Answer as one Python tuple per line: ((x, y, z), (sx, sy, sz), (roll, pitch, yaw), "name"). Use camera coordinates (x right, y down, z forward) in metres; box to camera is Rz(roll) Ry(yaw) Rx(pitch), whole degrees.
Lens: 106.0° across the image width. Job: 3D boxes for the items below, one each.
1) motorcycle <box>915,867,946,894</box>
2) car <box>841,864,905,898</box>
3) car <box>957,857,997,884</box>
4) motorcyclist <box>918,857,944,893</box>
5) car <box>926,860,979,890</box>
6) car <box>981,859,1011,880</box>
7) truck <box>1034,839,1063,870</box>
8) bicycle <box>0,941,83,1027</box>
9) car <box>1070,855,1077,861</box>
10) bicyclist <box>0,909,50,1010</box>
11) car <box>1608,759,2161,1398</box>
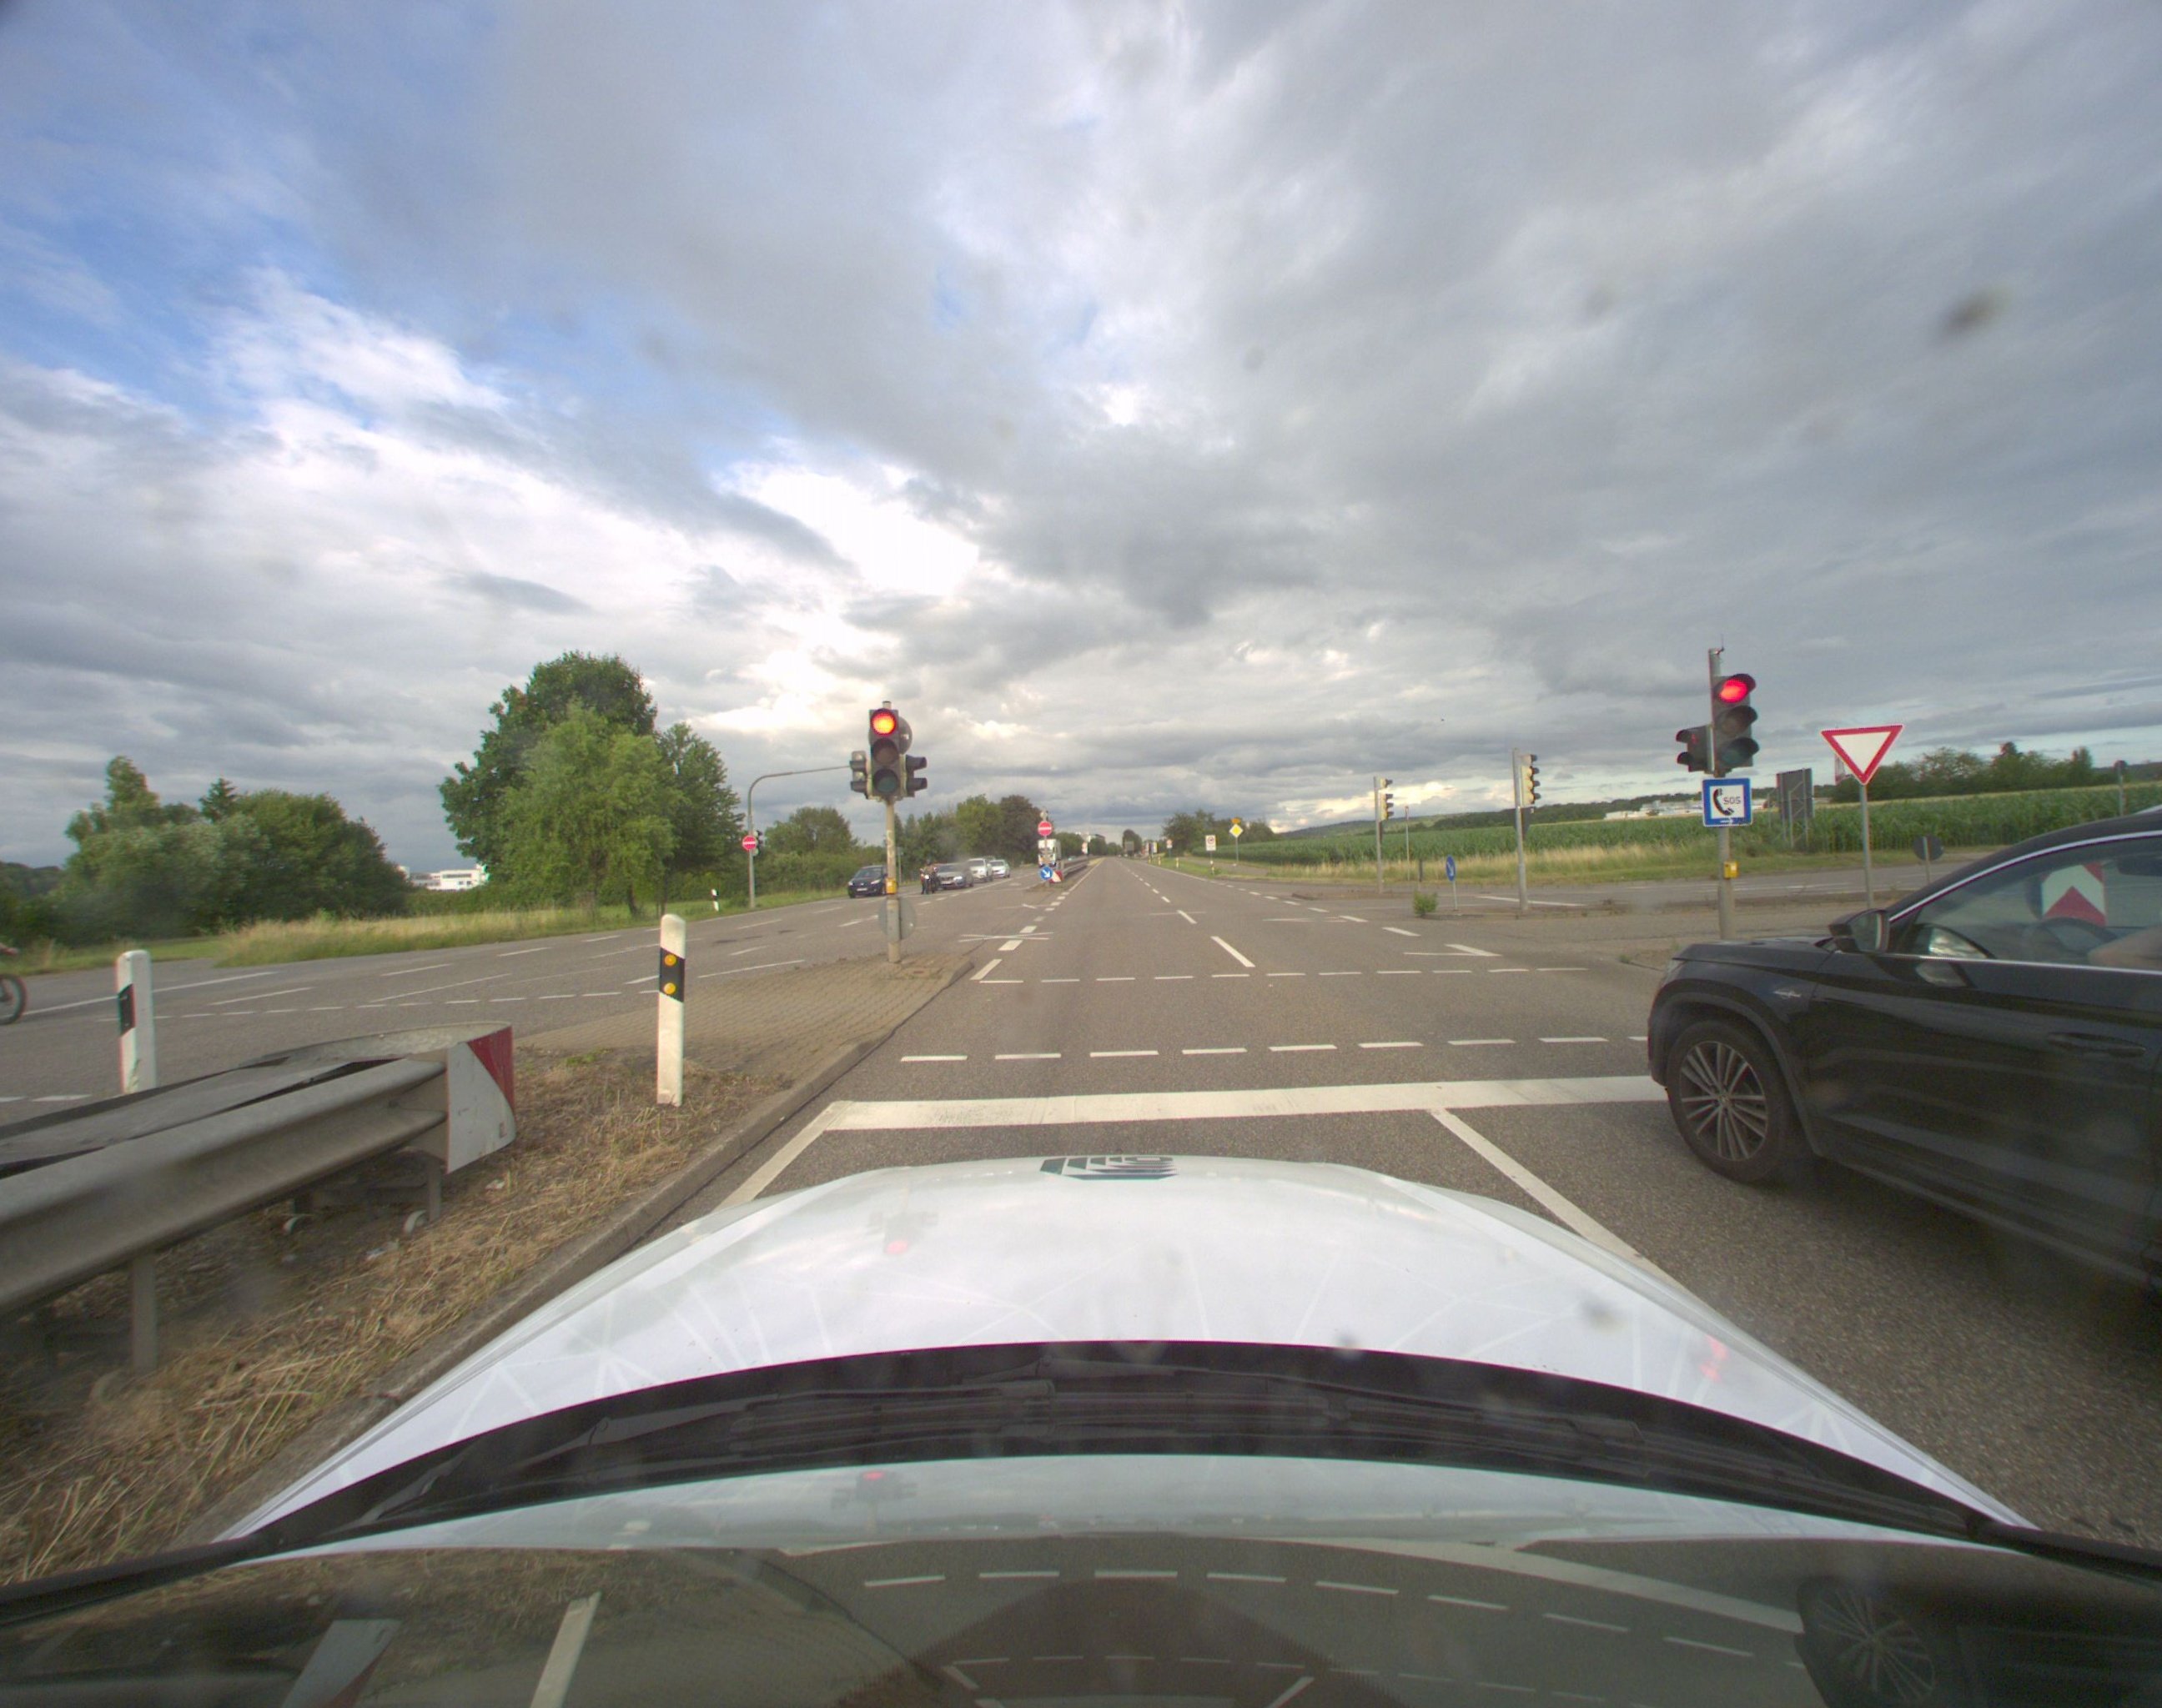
((-7.399, 1.292, 40.156), (0.913, 1.203, 2.480), (-4, -1, 2), "motorcycle")
((-10.880, 1.385, 42.967), (1.900, 1.535, 4.940), (-3, 0, 2), "car")
((-6.972, 1.088, 54.973), (1.900, 1.610, 4.406), (-3, 0, 2), "car")
((-7.404, 1.026, 40.157), (0.913, 1.708, 1.276), (-3, -1, 2), "motorcyclist")
((-7.136, 1.149, 45.708), (1.900, 1.428, 5.154), (-3, 0, 2), "car")
((-6.650, 1.190, 64.240), (1.782, 1.444, 4.162), (-3, 0, 2), "car")
((-4.626, 0.128, 117.440), (3.462, 4.150, 6.052), (-4, 0, 2), "truck")
((-16.486, 1.955, 12.182), (2.307, 1.137, 0.817), (-3, 0, 7), "bicycle")
((-2.074, 1.043, 220.310), (1.782, 1.386, 4.162), (-3, 0, 2), "car")
((-16.536, 1.599, 12.181), (1.216, 1.451, 0.817), (-3, 0, 7), "bicyclist")
((3.707, 0.573, 2.126), (1.838, 1.650, 4.482), (0, 0, 1), "car")
